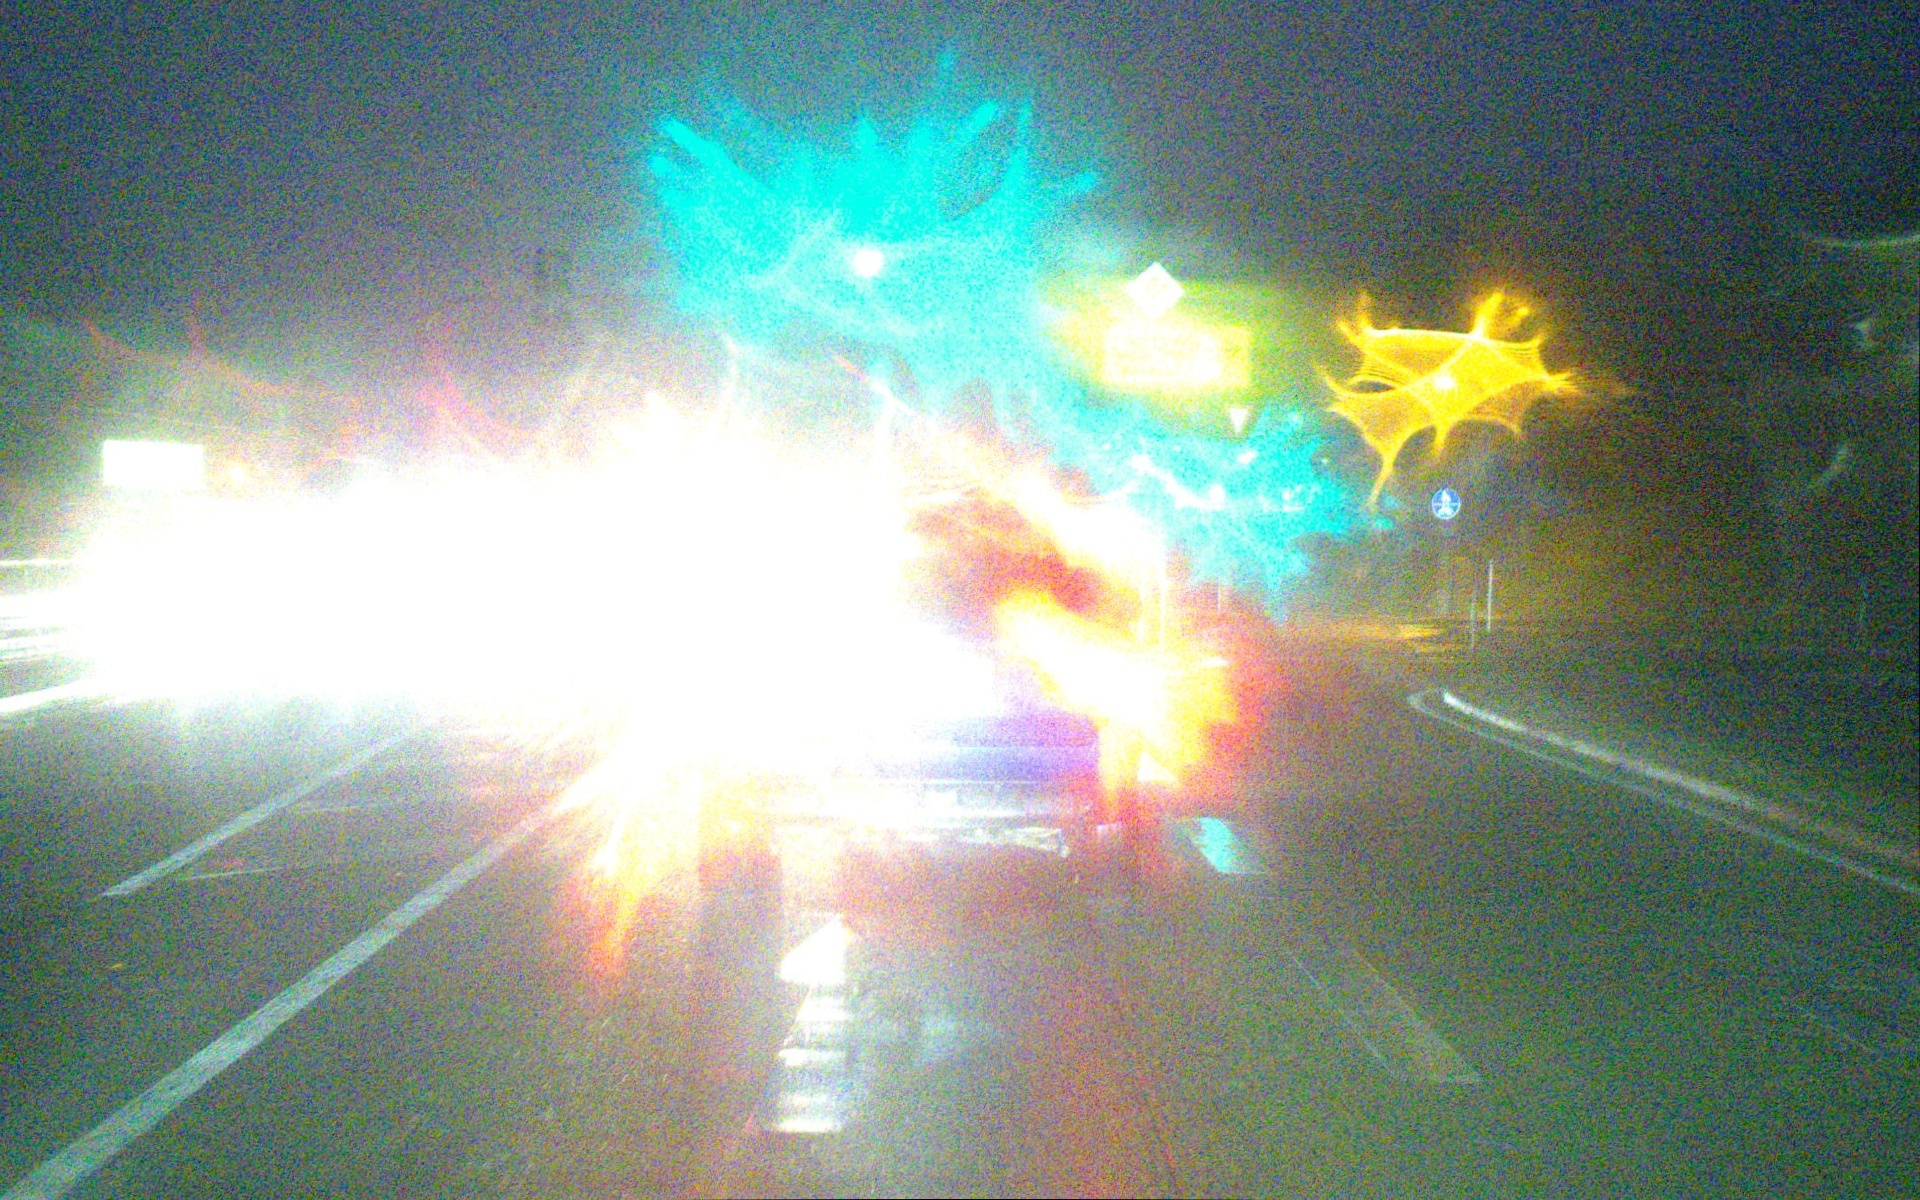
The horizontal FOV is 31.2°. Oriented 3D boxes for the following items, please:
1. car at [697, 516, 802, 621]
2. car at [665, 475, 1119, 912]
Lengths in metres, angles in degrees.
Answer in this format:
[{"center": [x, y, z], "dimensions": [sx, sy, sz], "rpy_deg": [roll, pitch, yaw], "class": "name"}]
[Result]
[{"center": [-4.312, -0.611, 69.911], "dimensions": [1.993, 2.007, 4.000], "rpy_deg": [-1, -1, -5], "class": "car"}, {"center": [-0.333, 0.343, 15.581], "dimensions": [1.775, 1.706, 4.000], "rpy_deg": [1, 1, -2], "class": "car"}]
